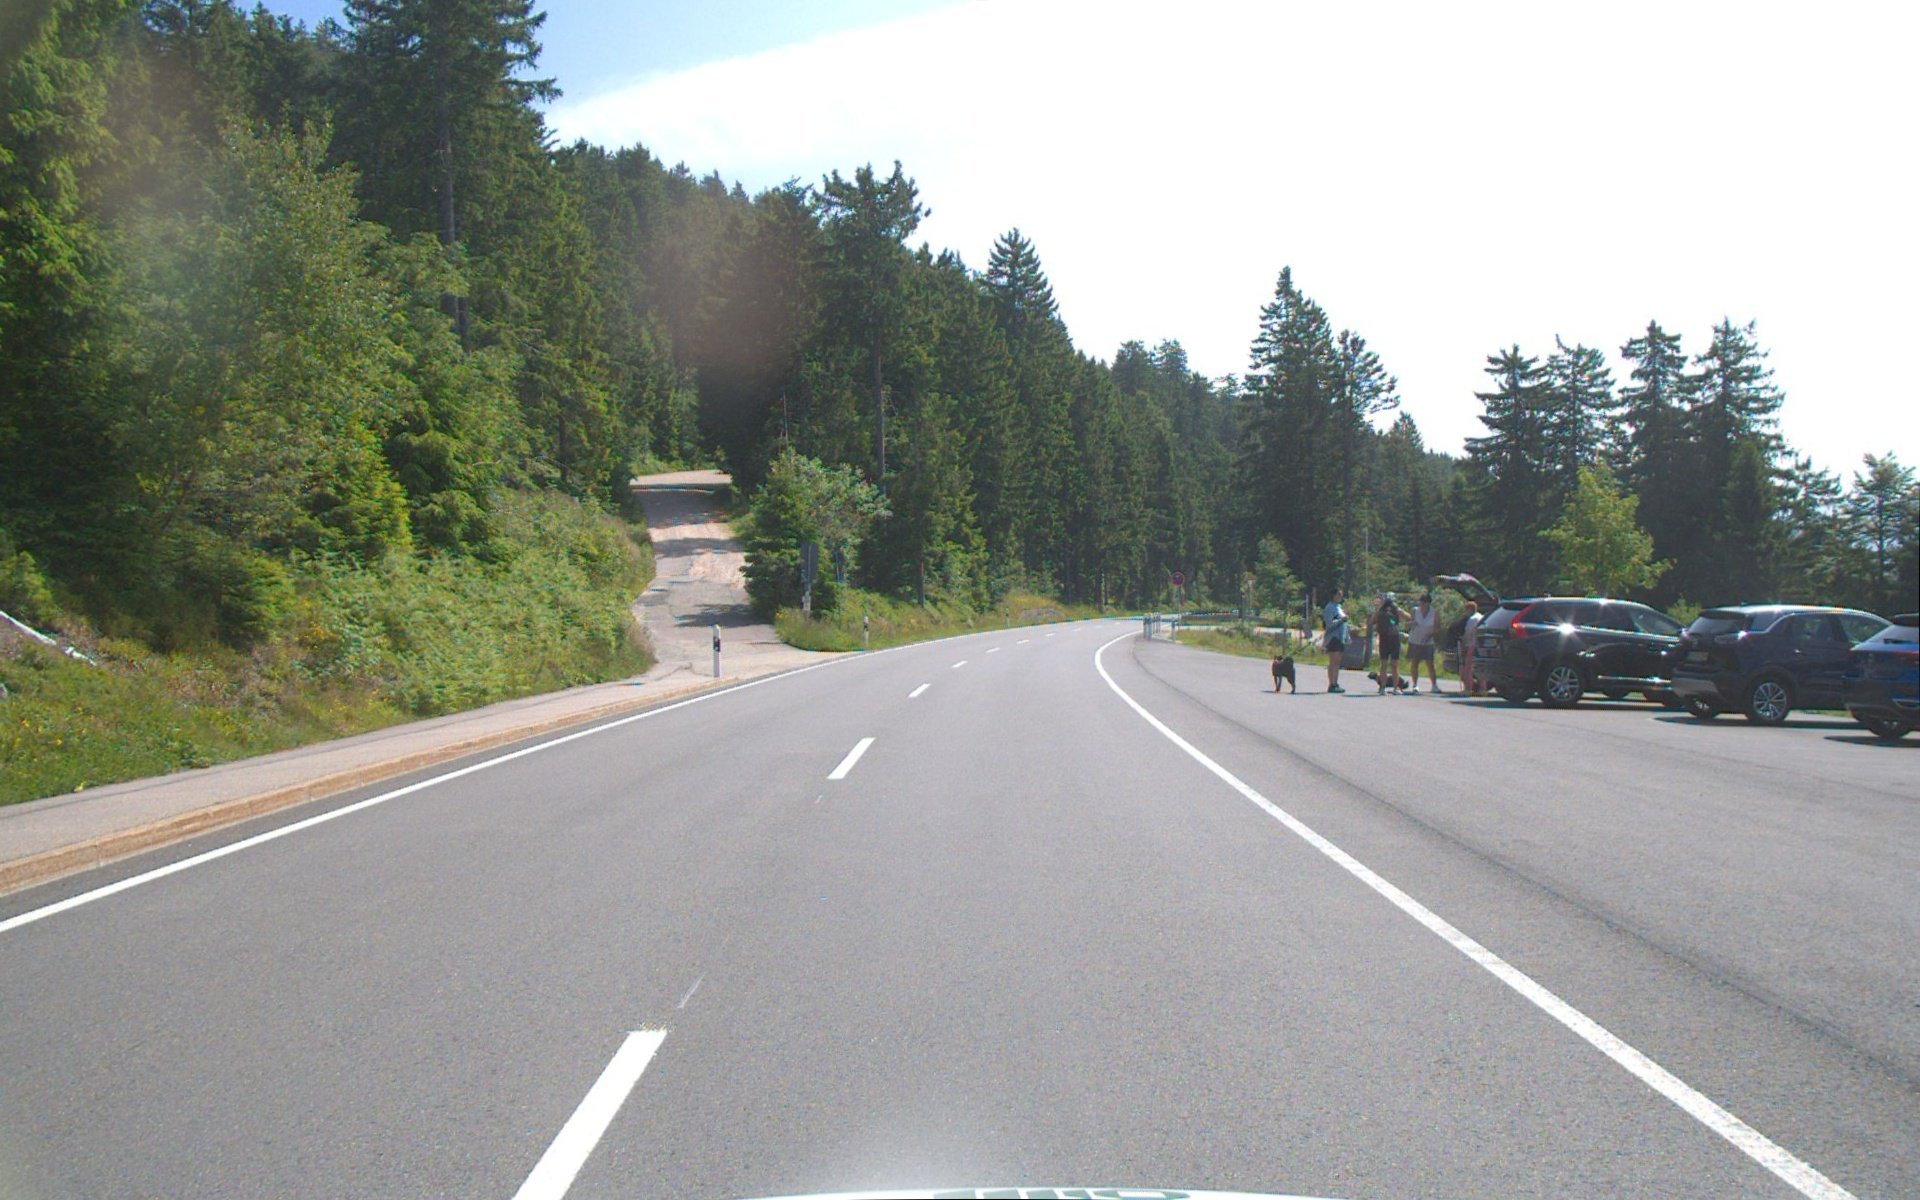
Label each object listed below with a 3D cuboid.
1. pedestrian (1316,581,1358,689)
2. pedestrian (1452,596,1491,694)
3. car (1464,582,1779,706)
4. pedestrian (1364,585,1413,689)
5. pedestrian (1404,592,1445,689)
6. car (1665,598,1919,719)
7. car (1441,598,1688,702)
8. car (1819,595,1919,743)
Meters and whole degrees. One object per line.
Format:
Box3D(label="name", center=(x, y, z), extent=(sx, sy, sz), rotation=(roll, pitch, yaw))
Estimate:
Box3D(label="pedestrian", center=(6.404, 0.585, 28.102), extent=(0.604, 1.806, 0.724), rotation=(0, 0, 6))
Box3D(label="pedestrian", center=(8.698, 0.758, 28.093), extent=(0.604, 1.615, 0.736), rotation=(-1, 1, 18))
Box3D(label="car", center=(10.294, 0.658, 25.932), extent=(4.179, 1.825, 1.891), rotation=(0, 2, -4))
Box3D(label="pedestrian", center=(7.206, 0.616, 27.845), extent=(0.700, 1.722, 0.619), rotation=(0, 0, 5))
Box3D(label="pedestrian", center=(8.280, 0.714, 29.490), extent=(0.638, 1.689, 0.688), rotation=(-1, 1, 12))
Box3D(label="car", center=(11.867, 0.769, 22.790), extent=(3.681, 1.595, 1.598), rotation=(0, 0, -7))
Box3D(label="car", center=(10.673, 0.872, 29.320), extent=(3.743, 1.690, 1.651), rotation=(2, 0, -6))
Box3D(label="car", center=(12.643, 0.782, 19.679), extent=(3.909, 1.562, 1.806), rotation=(0, 4, -5))
